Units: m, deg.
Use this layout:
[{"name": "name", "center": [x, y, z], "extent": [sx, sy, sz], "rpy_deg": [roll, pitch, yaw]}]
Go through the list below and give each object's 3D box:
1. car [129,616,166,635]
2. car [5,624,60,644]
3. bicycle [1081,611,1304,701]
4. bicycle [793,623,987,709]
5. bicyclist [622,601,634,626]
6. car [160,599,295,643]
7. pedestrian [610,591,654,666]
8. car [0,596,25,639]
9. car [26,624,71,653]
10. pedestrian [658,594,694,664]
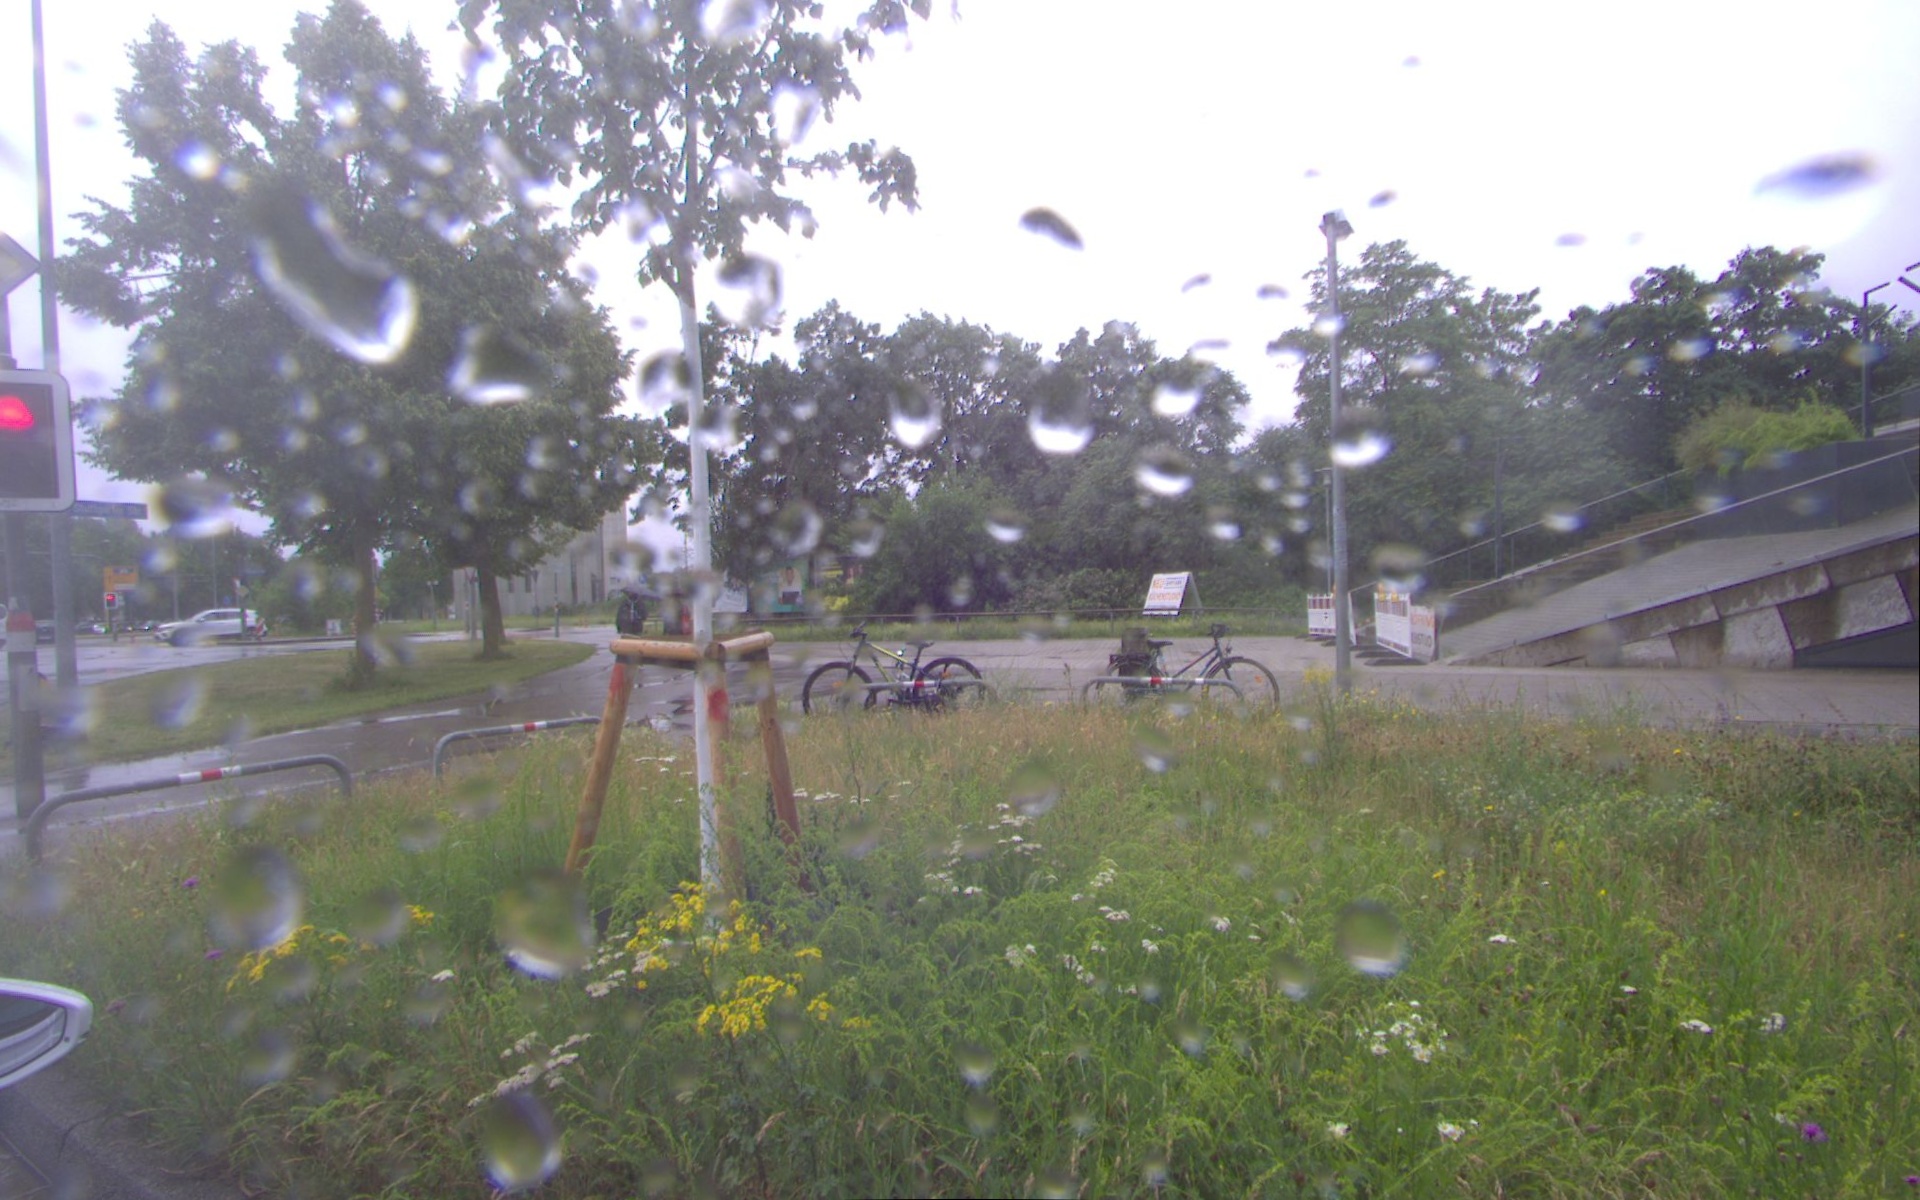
[{"name": "car", "center": [-89.414, 2.829, 110.254], "extent": [1.966, 2.039, 3.993], "rpy_deg": [0, -2, -20]}, {"name": "car", "center": [-79.100, 2.918, 85.463], "extent": [1.770, 1.683, 3.995], "rpy_deg": [0, -2, -16]}, {"name": "bicycle", "center": [2.148, 0.527, 9.343], "extent": [1.972, 0.796, 0.454], "rpy_deg": [-1, -2, 16]}, {"name": "bicycle", "center": [-0.665, 0.632, 9.669], "extent": [1.823, 0.796, 0.380], "rpy_deg": [0, -2, -2]}, {"name": "bicyclist", "center": [-23.244, 0.939, 70.114], "extent": [0.491, 1.764, 0.586], "rpy_deg": [-2, -2, 44]}, {"name": "car", "center": [-33.822, 0.927, 46.348], "extent": [1.978, 1.876, 4.733], "rpy_deg": [0, 0, 43]}, {"name": "pedestrian", "center": [-6.827, 0.601, 20.867], "extent": [0.727, 1.542, 0.623], "rpy_deg": [0, -1, -5]}, {"name": "car", "center": [-44.497, 0.776, 44.226], "extent": [4.683, 1.874, 2.001], "rpy_deg": [-1, -2, 5]}, {"name": "car", "center": [-49.884, 2.089, 54.794], "extent": [3.947, 1.473, 1.608], "rpy_deg": [-1, 0, 45]}, {"name": "pedestrian", "center": [-6.238, 0.628, 22.042], "extent": [0.562, 1.480, 0.682], "rpy_deg": [-2, 1, -3]}]
